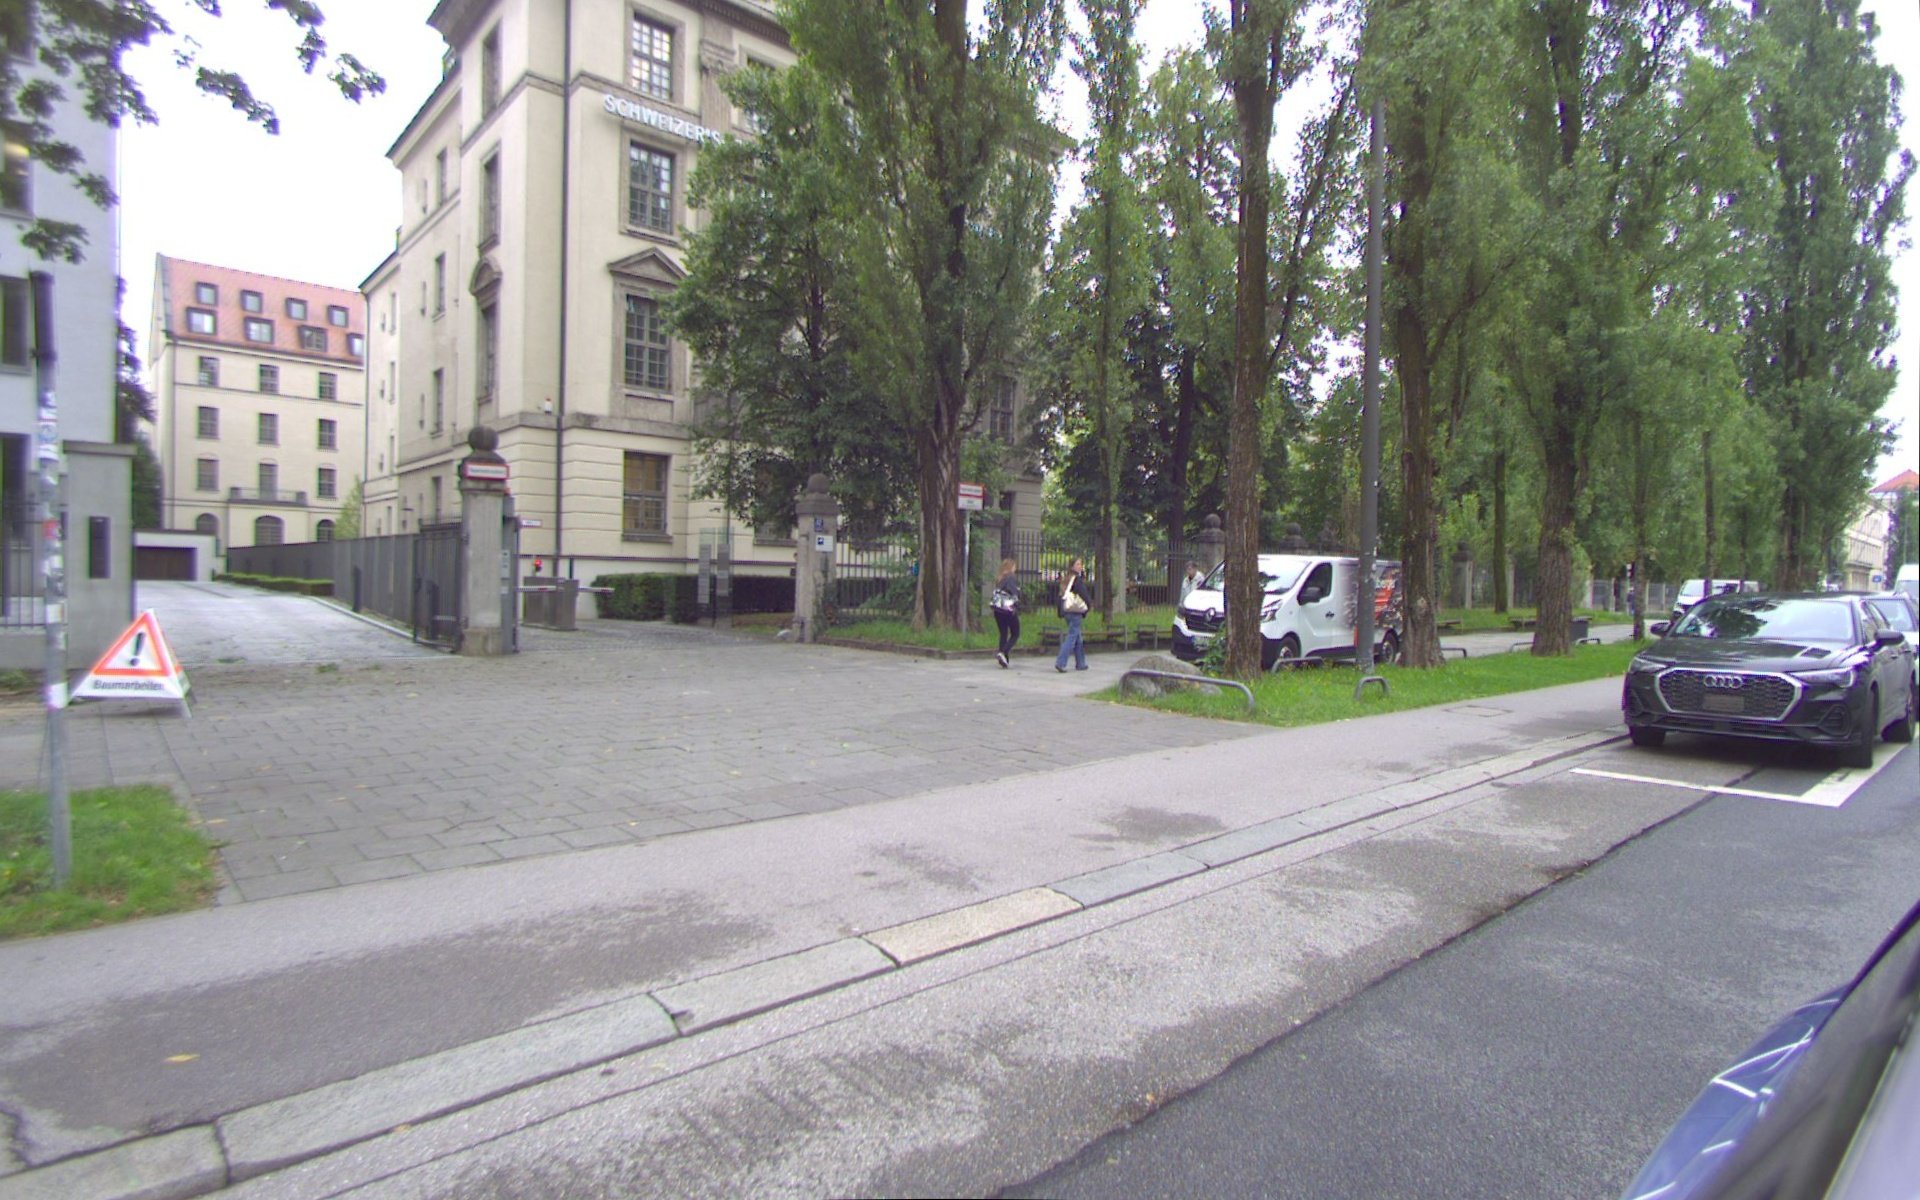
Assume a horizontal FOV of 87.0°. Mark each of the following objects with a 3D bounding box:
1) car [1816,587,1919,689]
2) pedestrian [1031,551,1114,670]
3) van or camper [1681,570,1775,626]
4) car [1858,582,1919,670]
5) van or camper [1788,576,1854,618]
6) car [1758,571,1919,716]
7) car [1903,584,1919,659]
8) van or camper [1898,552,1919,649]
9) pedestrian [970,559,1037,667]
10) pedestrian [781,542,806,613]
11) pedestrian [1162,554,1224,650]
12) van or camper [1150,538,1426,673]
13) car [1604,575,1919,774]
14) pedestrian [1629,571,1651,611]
[{"bbox_3d":[16.072,0.587,17.237,4.221,1.539,1.705,0,1,-42],"label":"car"},{"bbox_3d":[1.720,0.140,15.511,0.852,1.738,0.855,0,2,-42],"label":"pedestrian"},{"bbox_3d":[29.022,-0.077,38.182,4.952,1.958,1.978,0,0,-42],"label":"van or camper"},{"bbox_3d":[19.675,0.506,20.427,4.558,1.638,1.787,0,1,-42],"label":"car"},{"bbox_3d":[43.330,-0.152,50.911,4.902,2.039,2.005,0,0,-43],"label":"van or camper"},{"bbox_3d":[12.554,0.504,13.897,4.501,1.696,1.746,0,1,-42],"label":"car"},{"bbox_3d":[23.572,0.512,23.799,4.344,1.669,1.786,0,1,-44],"label":"car"},{"bbox_3d":[28.341,0.030,28.546,6.306,2.572,2.142,0,1,-42],"label":"van or camper"},{"bbox_3d":[0.671,0.184,15.591,0.852,1.598,0.568,0,2,-42],"label":"pedestrian"},{"bbox_3d":[-4.849,-0.652,29.495,0.536,2.038,0.456,0,1,-41],"label":"pedestrian"},{"bbox_3d":[4.533,0.024,19.695,0.852,1.791,0.723,0,4,-41],"label":"pedestrian"},{"bbox_3d":[5.709,0.075,17.229,5.275,1.958,2.080,0,0,-41],"label":"van or camper"},{"bbox_3d":[8.309,0.579,10.206,4.386,1.560,1.884,0,1,-41],"label":"car"},{"bbox_3d":[35.575,-0.498,52.964,0.898,2.038,0.946,2,1,33],"label":"pedestrian"}]
